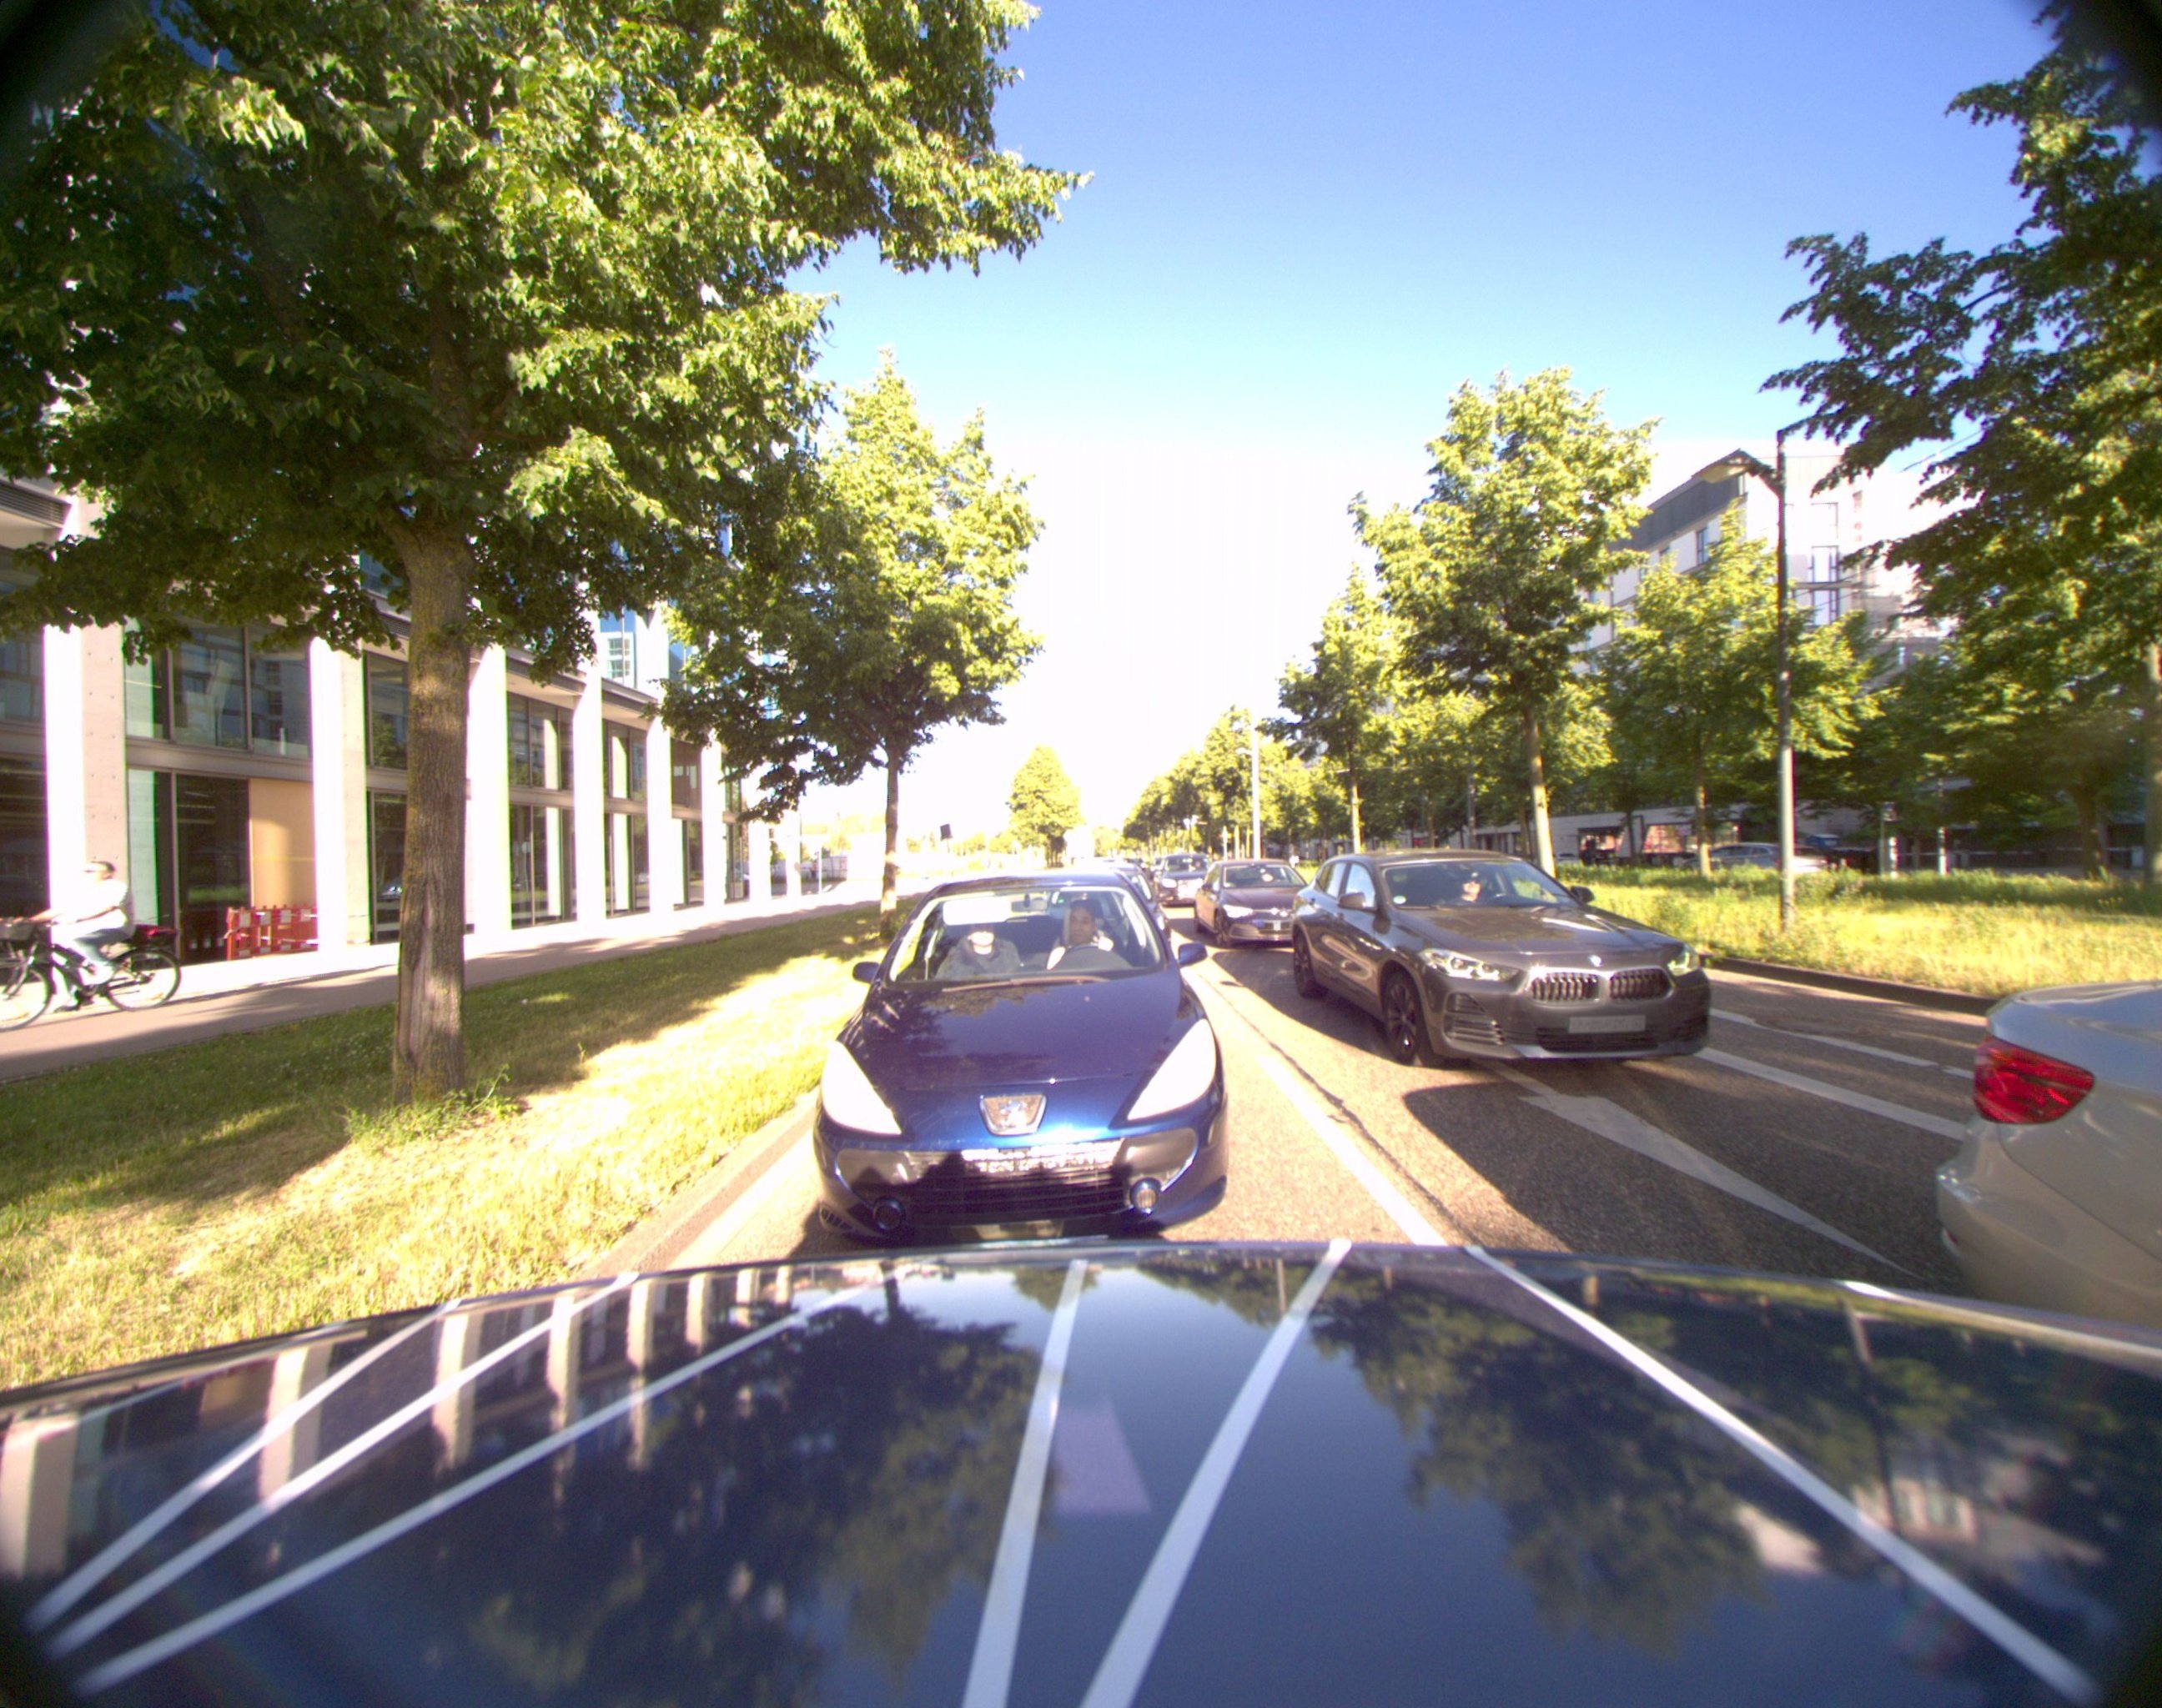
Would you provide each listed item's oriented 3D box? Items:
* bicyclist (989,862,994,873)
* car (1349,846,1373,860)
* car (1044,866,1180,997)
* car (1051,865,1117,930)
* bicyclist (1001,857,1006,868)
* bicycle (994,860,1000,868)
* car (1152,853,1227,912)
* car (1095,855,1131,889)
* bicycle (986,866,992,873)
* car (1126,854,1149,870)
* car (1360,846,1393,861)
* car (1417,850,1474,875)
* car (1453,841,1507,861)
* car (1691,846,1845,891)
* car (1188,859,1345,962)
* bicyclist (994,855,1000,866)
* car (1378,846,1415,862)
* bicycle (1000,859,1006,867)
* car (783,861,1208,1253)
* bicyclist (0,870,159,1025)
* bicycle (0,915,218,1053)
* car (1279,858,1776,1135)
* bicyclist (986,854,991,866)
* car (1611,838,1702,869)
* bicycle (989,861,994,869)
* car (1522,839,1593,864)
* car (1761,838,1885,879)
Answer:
[{"bbox_3d":[-10.361,1.568,88.058,0.534,1.282,0.457,-2,1,1],"label":"bicyclist"},{"bbox_3d":[34.710,-0.152,94.204,1.601,1.659,3.743,-1,0,1],"label":"car"},{"bbox_3d":[0.401,0.969,11.360,1.612,1.463,4.395,-1,0,1],"label":"car"},{"bbox_3d":[0.091,0.973,18.503,1.407,1.326,3.785,-1,0,1],"label":"car"},{"bbox_3d":[-8.999,0.956,88.183,0.534,1.282,0.521,-2,1,1],"label":"bicyclist"},{"bbox_3d":[-9.312,1.122,84.124,0.464,0.813,1.344,-2,1,1],"label":"bicycle"},{"bbox_3d":[3.236,0.798,23.392,1.812,1.581,4.165,-1,0,2],"label":"car"},{"bbox_3d":[1.594,0.889,38.646,1.705,1.591,3.785,-1,0,1],"label":"car"},{"bbox_3d":[-10.186,1.705,84.103,0.415,0.813,1.320,-2,1,1],"label":"bicycle"},{"bbox_3d":[6.032,0.852,81.853,2.012,1.689,4.791,-1,0,-1],"label":"car"},{"bbox_3d":[34.701,-0.041,89.376,2.012,1.689,4.791,-1,0,-1],"label":"car"},{"bbox_3d":[26.219,0.571,54.815,1.858,1.719,4.792,-1,0,1],"label":"car"},{"bbox_3d":[34.634,-0.263,66.069,2.012,1.689,4.791,-1,0,-3],"label":"car"},{"bbox_3d":[23.229,0.455,25.914,1.666,1.384,4.000,-1,0,1],"label":"car"},{"bbox_3d":[3.050,0.853,13.395,1.812,1.445,4.254,-1,0,2],"label":"car"},{"bbox_3d":[-9.314,0.697,84.174,0.534,1.210,0.507,-2,1,1],"label":"bicyclist"},{"bbox_3d":[34.669,0.009,83.569,2.012,1.689,4.791,-1,0,-1],"label":"car"},{"bbox_3d":[-9.029,1.059,88.234,0.464,0.813,1.344,-2,1,1],"label":"bicycle"},{"bbox_3d":[-0.321,0.846,4.976,1.686,1.513,3.785,-1,0,1],"label":"car"},{"bbox_3d":[-10.699,0.950,8.053,0.773,1.522,0.849,-1,1,1],"label":"bicyclist"},{"bbox_3d":[-10.698,1.316,8.102,0.743,1.167,1.961,0,0,1],"label":"bicycle"},{"bbox_3d":[3.084,0.832,6.366,1.812,1.513,4.029,-1,0,1],"label":"car"},{"bbox_3d":[-10.228,0.698,84.028,0.448,1.282,0.418,-2,1,1],"label":"bicyclist"},{"bbox_3d":[34.423,-0.032,45.606,1.858,1.674,4.792,-1,0,1],"label":"car"},{"bbox_3d":[-10.375,1.262,88.087,0.464,0.813,1.344,-2,1,1],"label":"bicycle"},{"bbox_3d":[34.836,-0.164,55.730,2.012,1.689,4.791,-1,0,-3],"label":"car"},{"bbox_3d":[34.236,0.199,35.204,1.858,1.739,4.000,-1,0,1],"label":"car"}]
